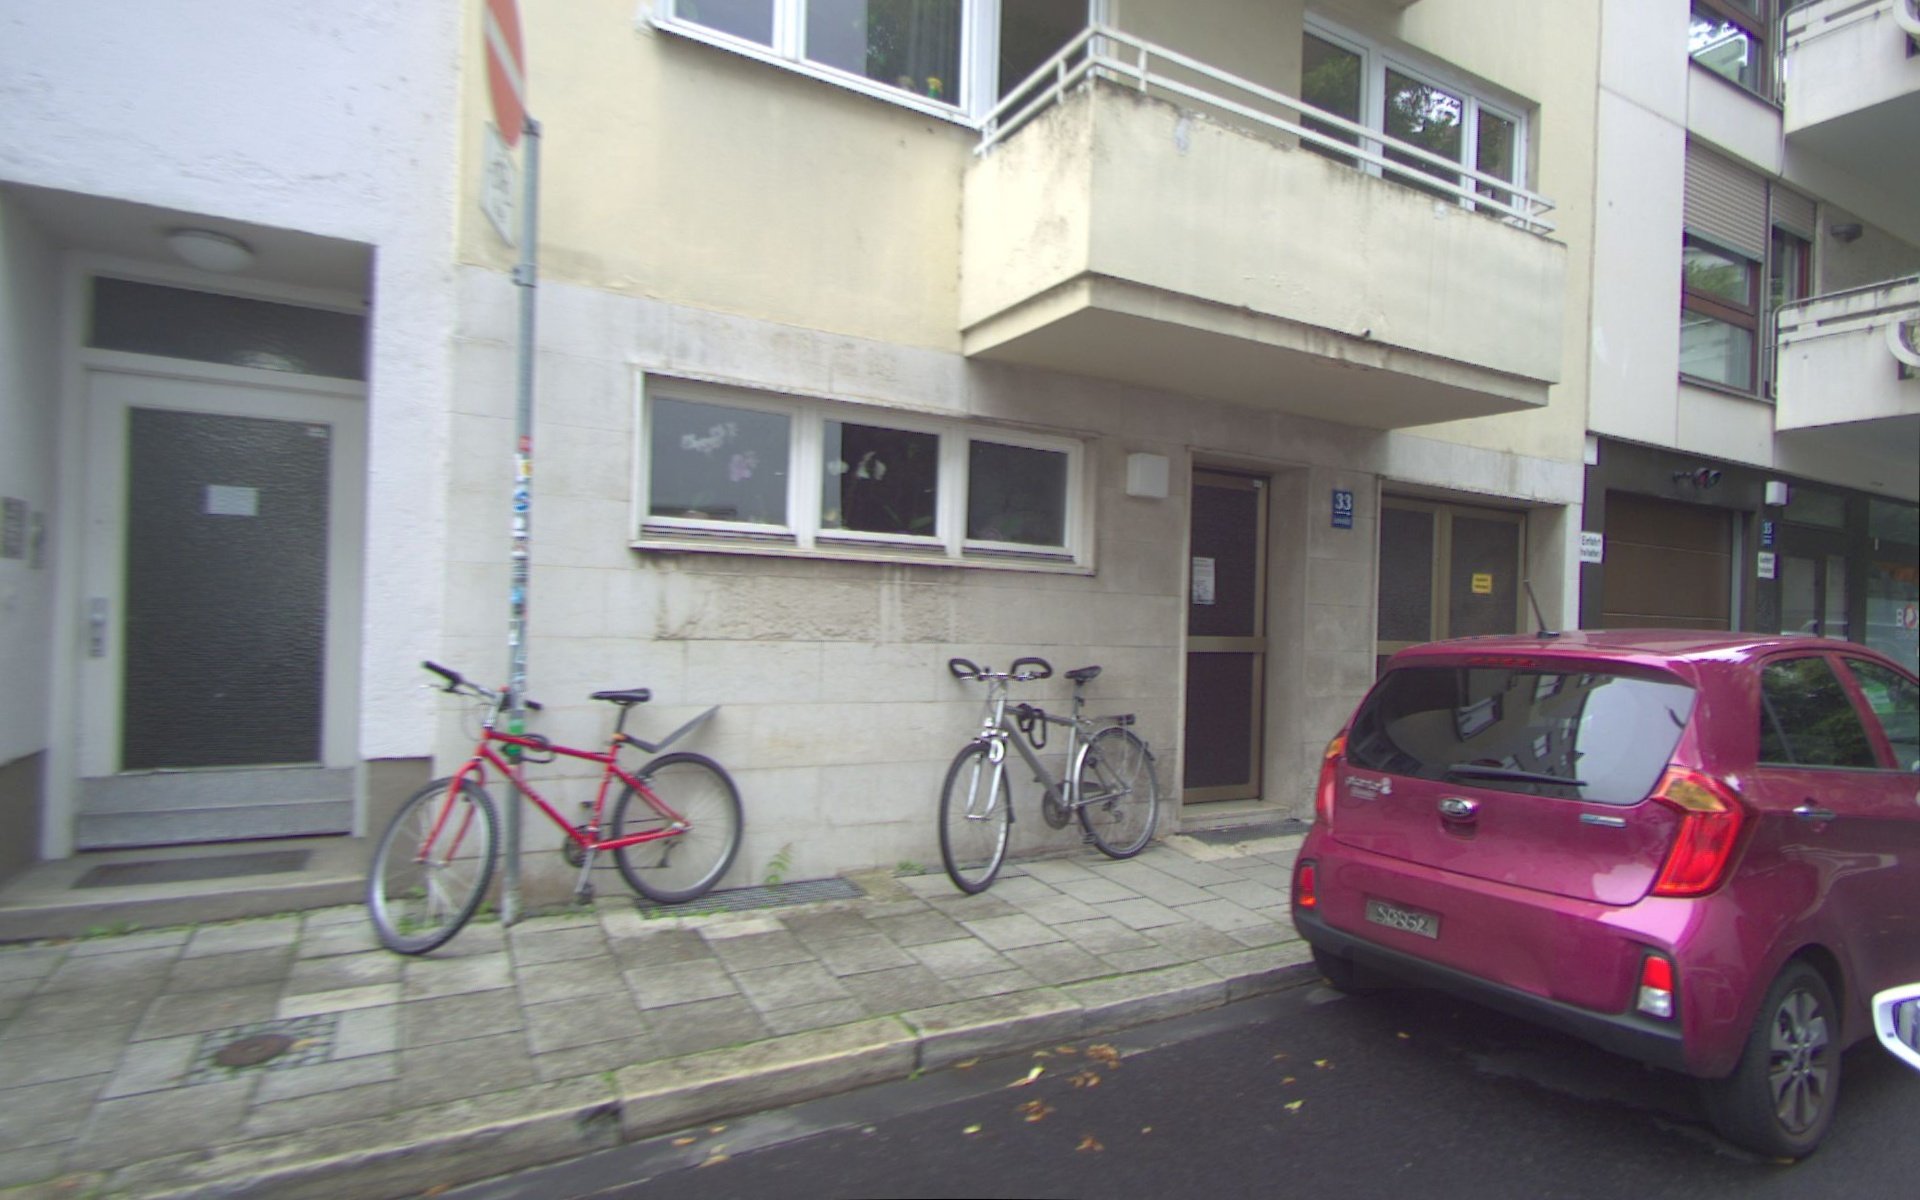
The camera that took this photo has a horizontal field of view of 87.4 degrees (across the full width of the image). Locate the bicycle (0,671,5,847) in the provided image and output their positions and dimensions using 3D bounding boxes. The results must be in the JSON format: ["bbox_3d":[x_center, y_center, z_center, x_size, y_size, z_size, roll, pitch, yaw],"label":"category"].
[{"bbox_3d":[-4.044,0.732,3.039,1.571,0.997,0.487,2,0,-29],"label":"bicycle"}]

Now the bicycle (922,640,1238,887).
[{"bbox_3d":[0.686,0.814,5.448,1.739,1.164,0.465,2,0,-29],"label":"bicycle"}]

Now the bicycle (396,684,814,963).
[{"bbox_3d":[-1.451,0.853,4.216,1.573,0.945,0.487,2,0,-30],"label":"bicycle"}]

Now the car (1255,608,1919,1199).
[{"bbox_3d":[3.124,0.843,4.123,3.666,1.516,1.611,2,-1,-31],"label":"car"}]
